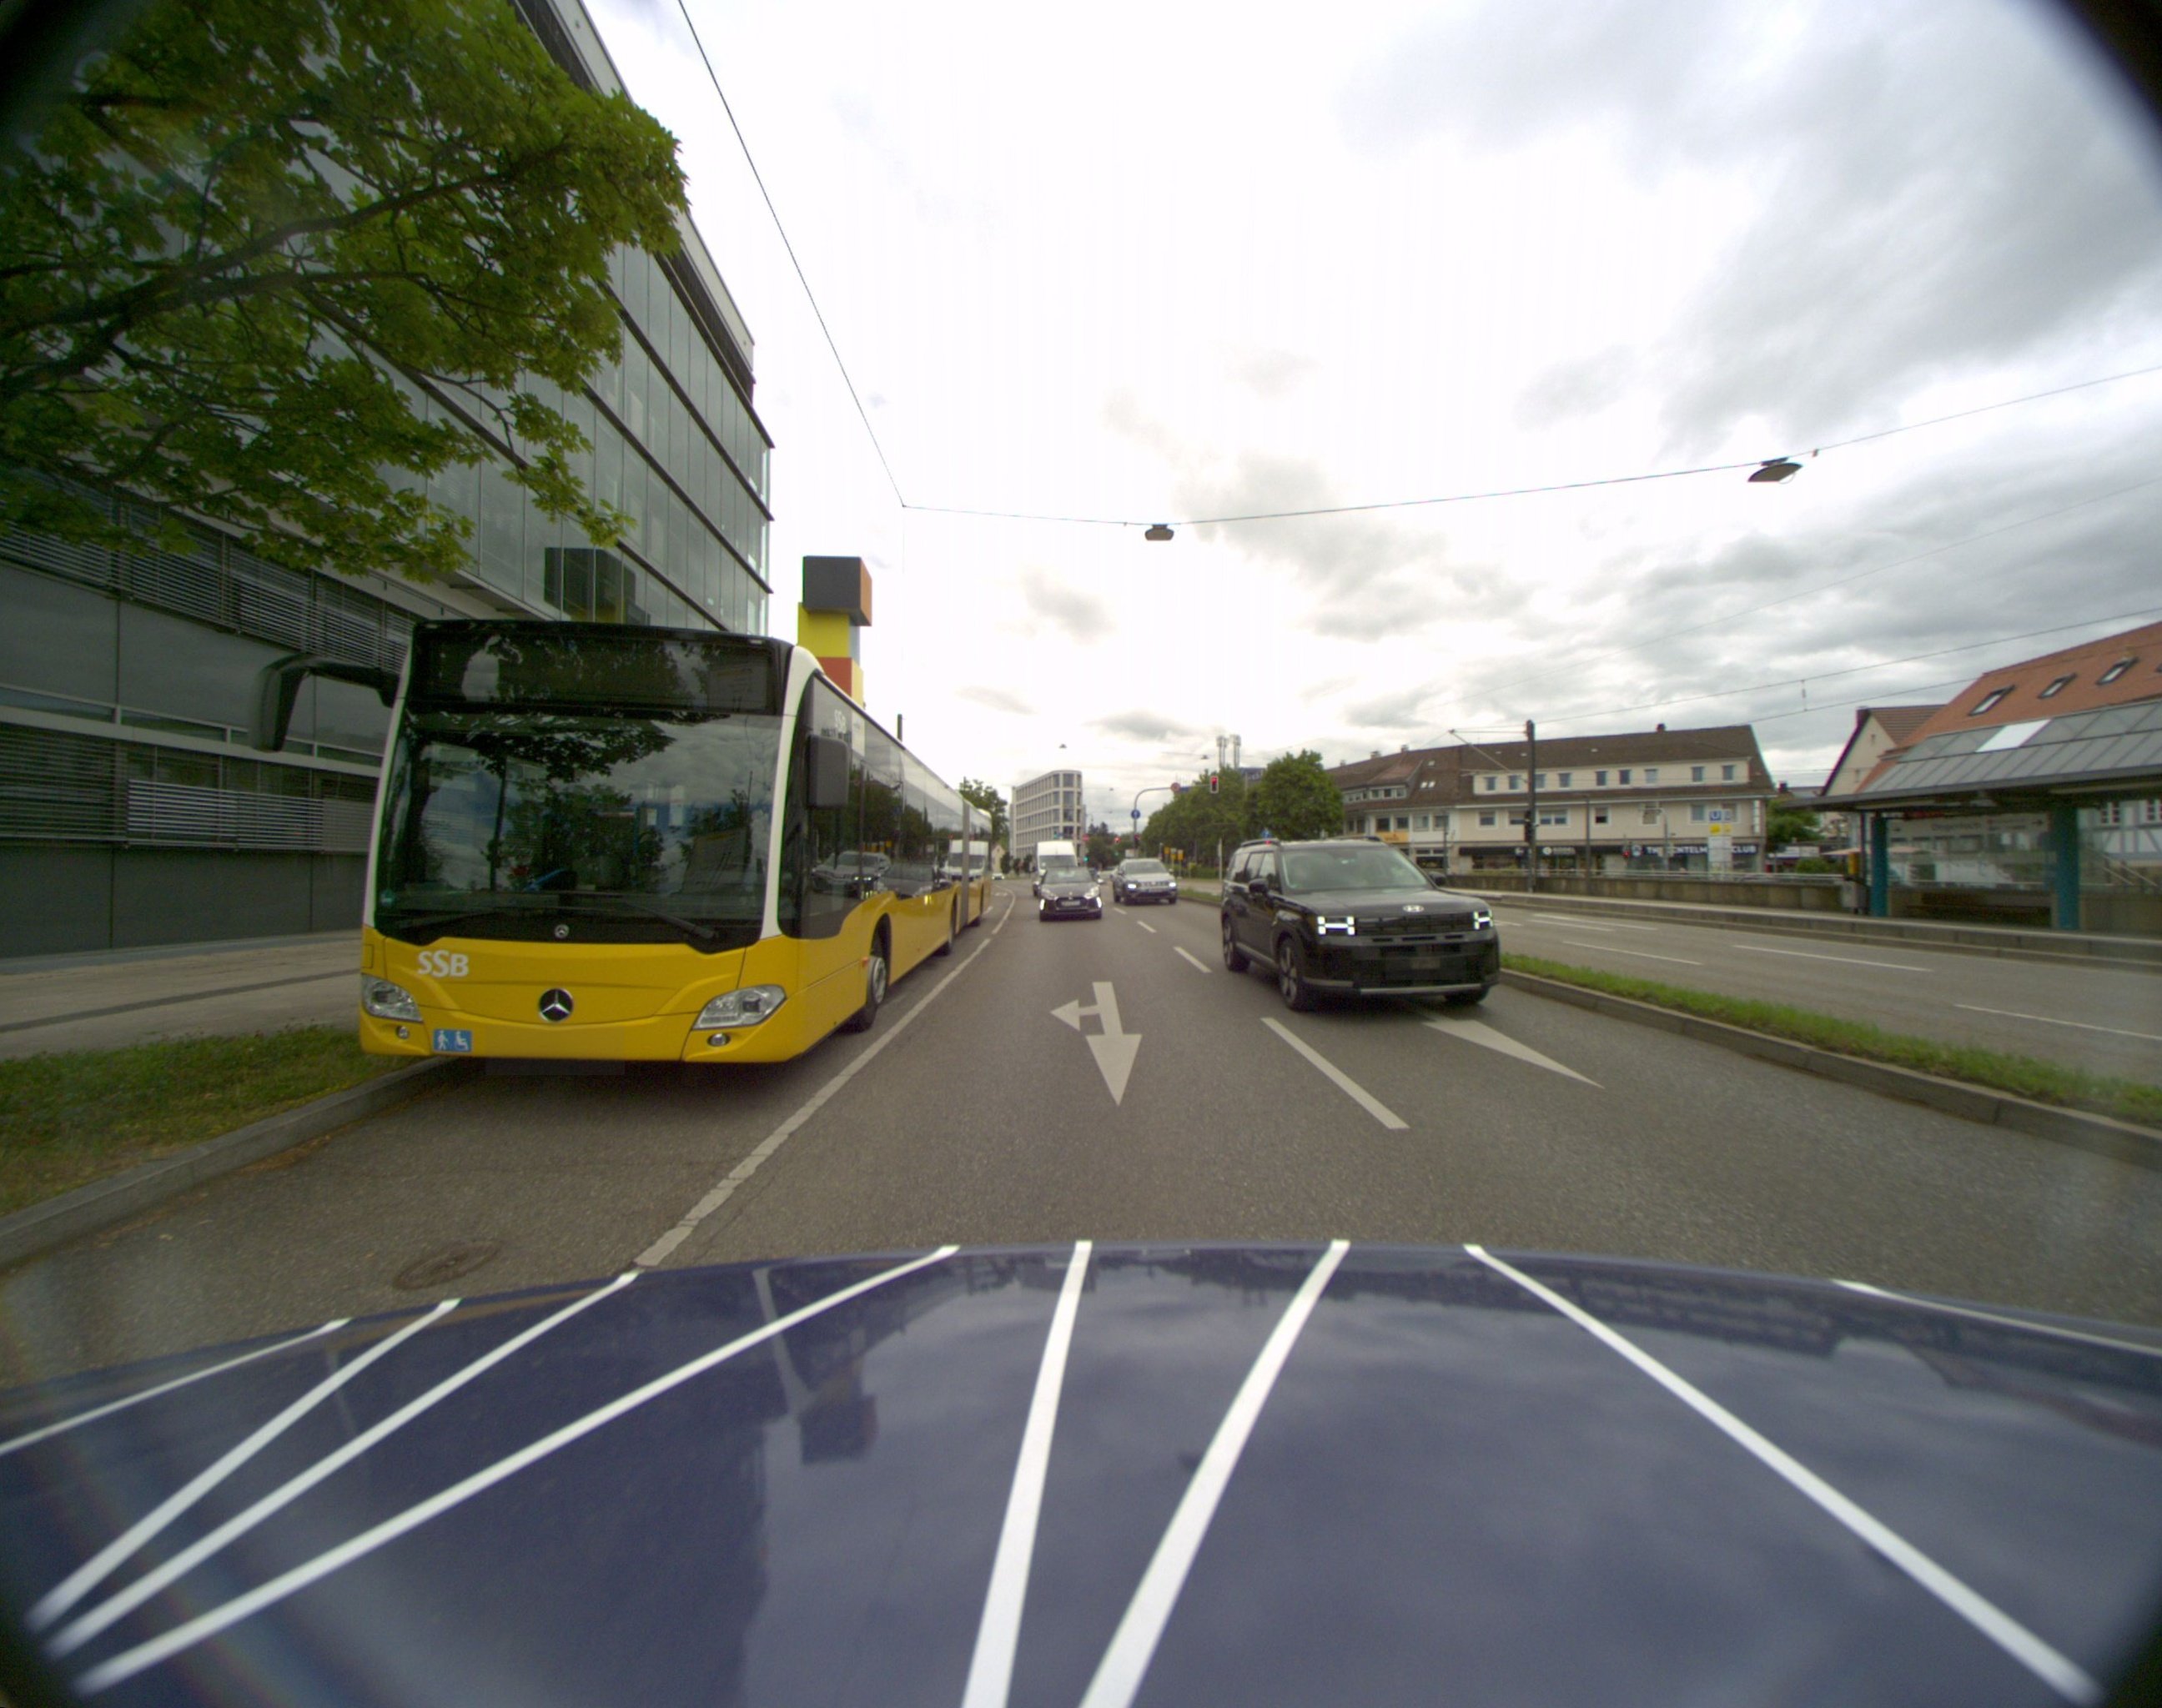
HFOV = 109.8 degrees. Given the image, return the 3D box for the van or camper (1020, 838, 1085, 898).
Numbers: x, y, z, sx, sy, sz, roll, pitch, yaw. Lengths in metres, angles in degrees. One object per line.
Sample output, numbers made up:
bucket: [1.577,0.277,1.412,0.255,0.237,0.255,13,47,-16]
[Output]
van or camper: [-1.563,0.684,37.955,2.282,2.690,6.989,0,0,-10]

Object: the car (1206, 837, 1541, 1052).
car: [2.870,0.797,8.782,1.927,1.741,4.678,-2,-1,-1]

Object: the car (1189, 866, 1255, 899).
car: [6.965,1.361,38.026,1.999,1.503,4.642,0,-1,-6]

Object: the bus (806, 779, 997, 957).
bus: [-3.623,0.299,17.735,2.720,3.090,8.868,0,-1,-3]

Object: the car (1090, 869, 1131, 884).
car: [2.862,2.200,74.470,2.003,1.348,4.800,0,-1,-26]

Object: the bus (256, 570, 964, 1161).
bus: [-3.229,0.132,8.688,2.720,3.145,9.125,1,-1,-3]

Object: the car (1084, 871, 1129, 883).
car: [2.990,2.650,88.110,4.818,1.348,1.995,0,-1,-29]

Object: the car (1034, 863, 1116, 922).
car: [-0.276,1.030,21.683,1.864,1.516,3.997,0,0,-7]

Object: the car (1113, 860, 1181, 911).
car: [2.344,1.093,27.979,1.999,1.640,4.393,-2,0,-1]
